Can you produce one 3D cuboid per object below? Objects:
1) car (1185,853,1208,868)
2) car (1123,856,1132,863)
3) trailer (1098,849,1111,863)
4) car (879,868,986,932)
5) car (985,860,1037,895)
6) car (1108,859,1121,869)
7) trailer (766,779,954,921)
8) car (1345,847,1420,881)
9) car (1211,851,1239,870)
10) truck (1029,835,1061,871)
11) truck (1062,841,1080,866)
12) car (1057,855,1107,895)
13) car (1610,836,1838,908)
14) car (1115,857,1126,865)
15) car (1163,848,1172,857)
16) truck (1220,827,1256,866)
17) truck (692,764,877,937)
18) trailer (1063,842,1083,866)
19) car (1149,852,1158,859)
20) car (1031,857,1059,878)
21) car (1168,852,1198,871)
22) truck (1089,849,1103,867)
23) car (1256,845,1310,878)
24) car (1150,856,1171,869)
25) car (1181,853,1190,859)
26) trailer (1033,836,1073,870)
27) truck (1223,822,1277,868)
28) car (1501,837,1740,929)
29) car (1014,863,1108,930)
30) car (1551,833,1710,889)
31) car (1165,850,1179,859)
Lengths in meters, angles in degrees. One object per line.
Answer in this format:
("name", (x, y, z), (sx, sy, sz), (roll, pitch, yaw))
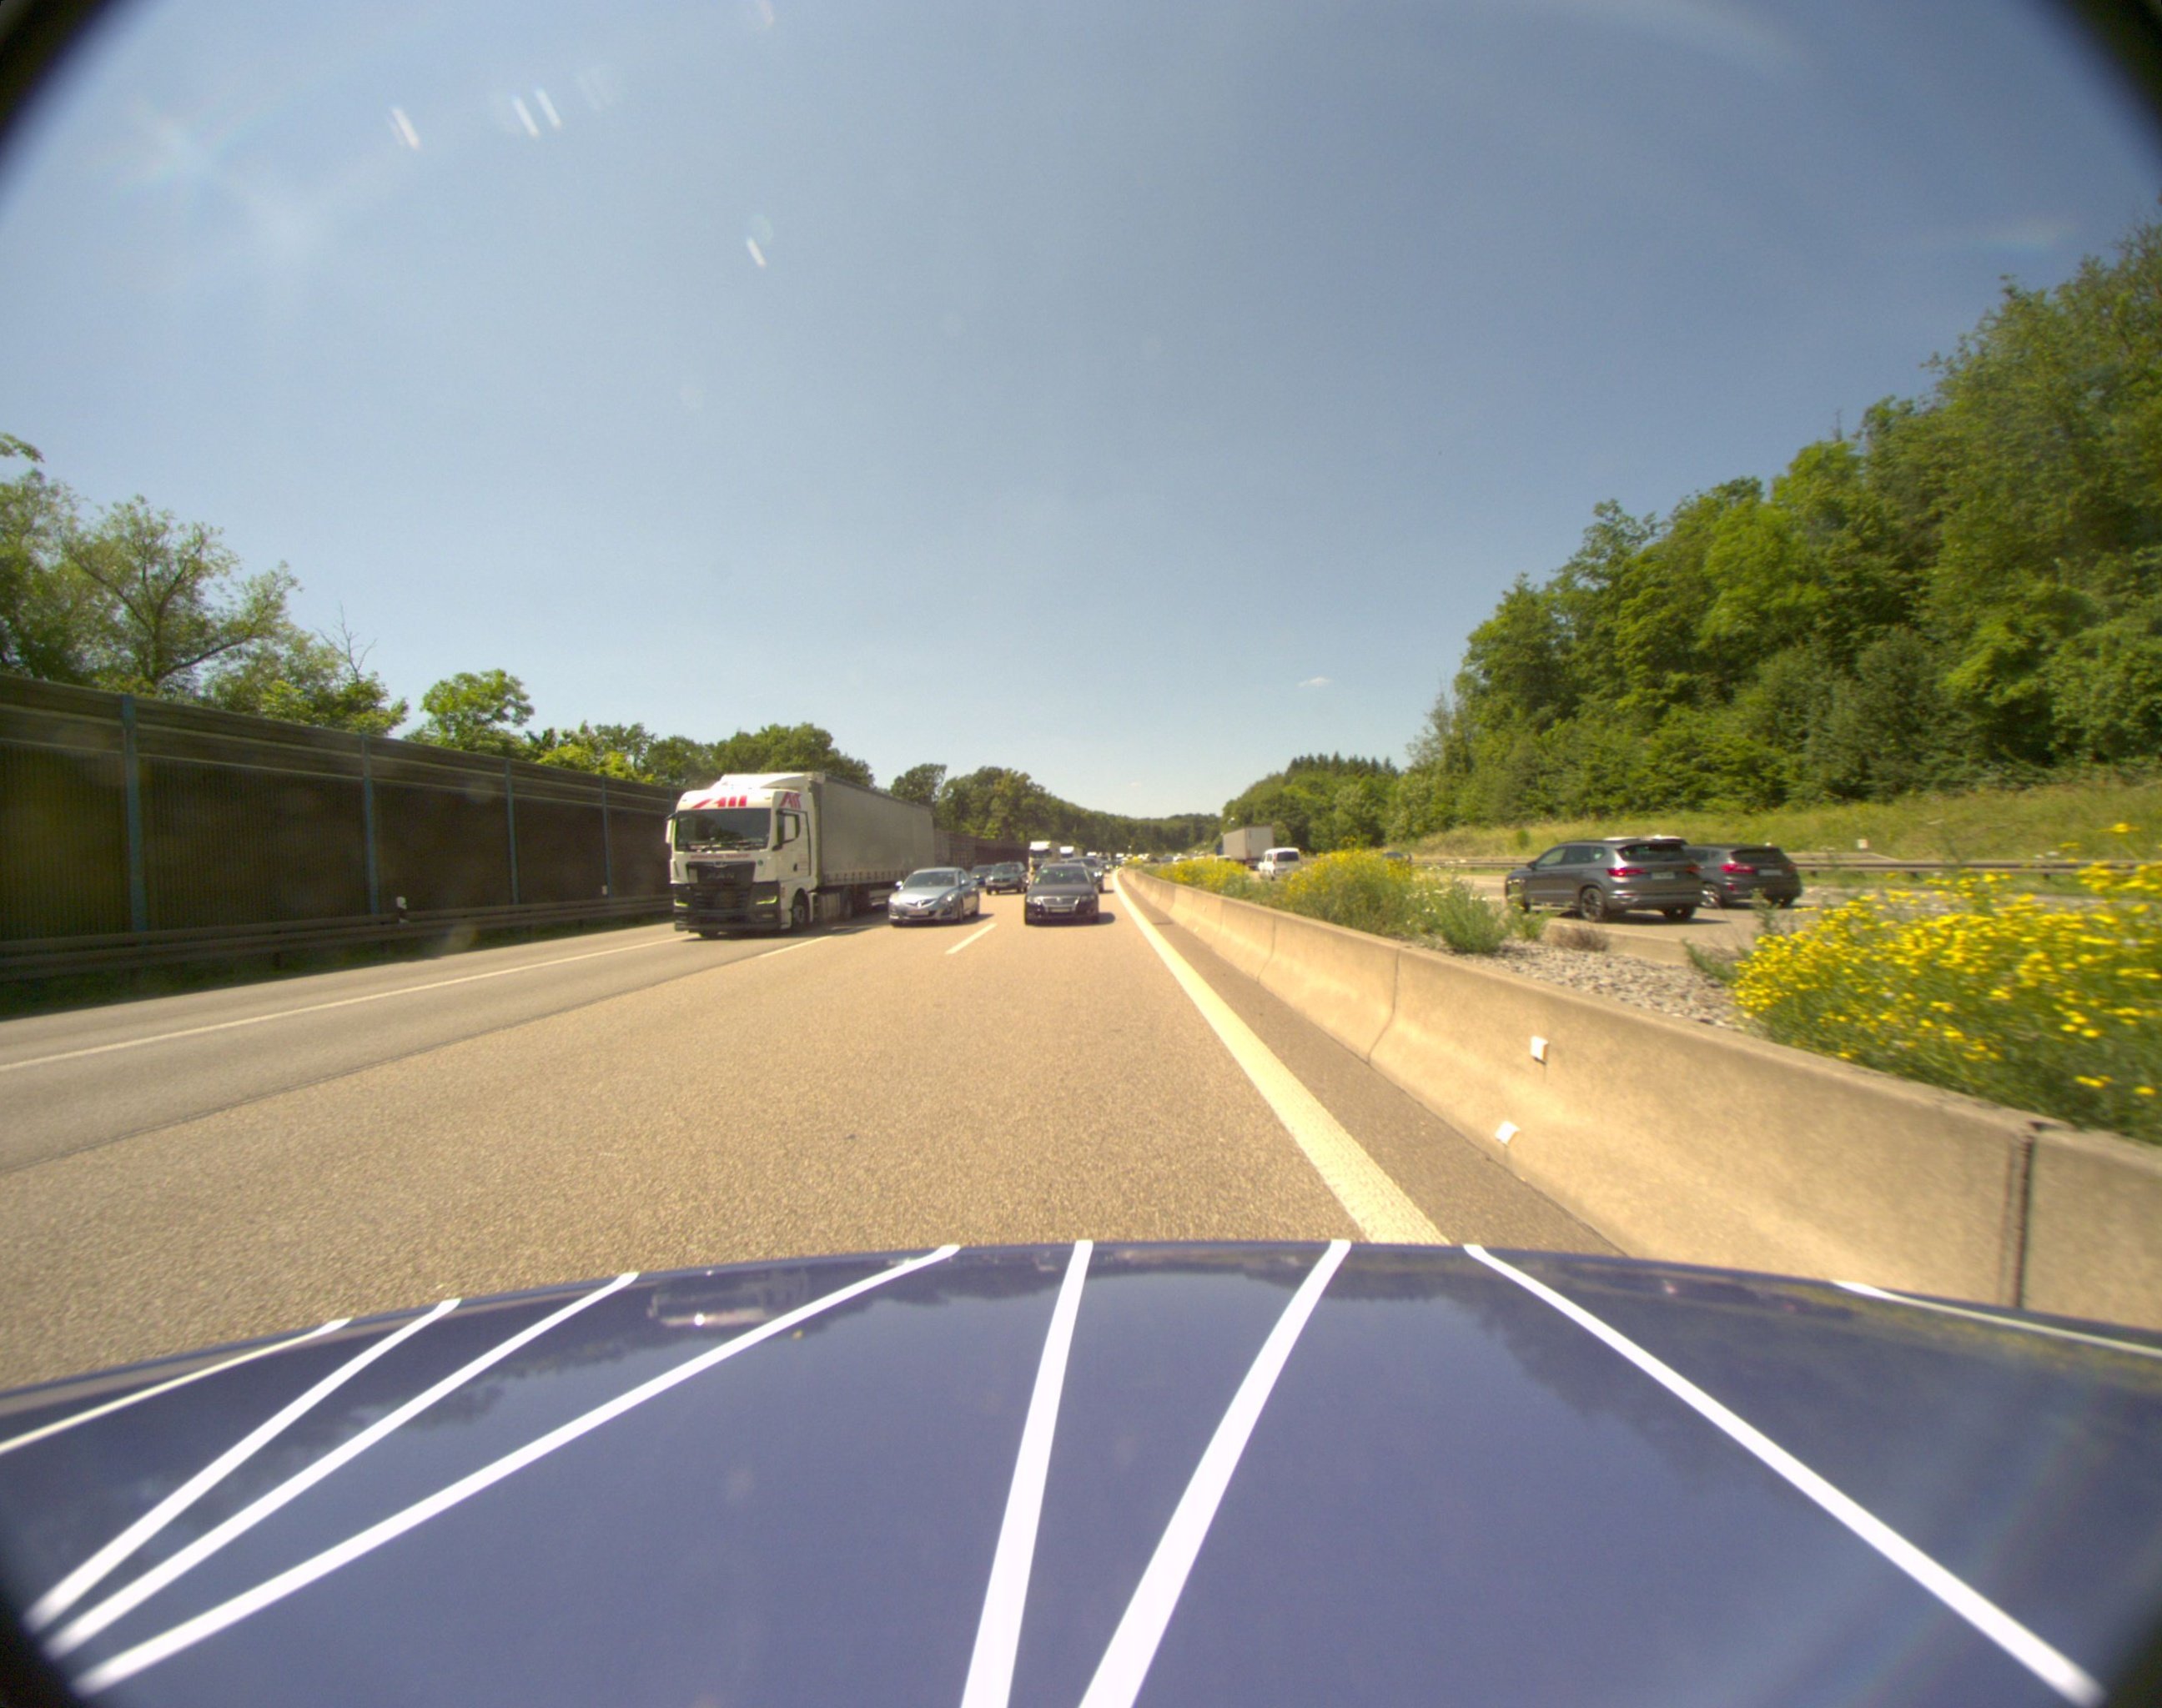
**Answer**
("car", (12.659, 0.677, 83.512), (1.998, 1.489, 4.248), (-2, 0, 1))
("car", (11.435, 1.302, 186.006), (1.997, 1.641, 4.002), (-2, 0, 6))
("trailer", (7.067, 0.638, 225.620), (3.154, 4.061, 6.186), (-2, 0, 8))
("car", (-3.848, 1.139, 20.405), (1.860, 1.426, 4.177), (-2, 0, 2))
("car", (-3.426, 1.117, 37.853), (1.907, 1.550, 4.001), (-2, 0, 4))
("car", (5.844, 1.666, 132.915), (1.997, 1.641, 4.002), (-2, 0, 6))
("trailer", (-7.582, -0.126, 28.953), (2.604, 4.066, 13.593), (-2, 0, 2))
("car", (14.343, 0.444, 36.380), (1.998, 1.483, 4.000), (-2, 0, 1))
("car", (12.073, 0.572, 63.915), (1.679, 1.489, 3.883), (-2, 0, 1))
("truck", (-4.452, -0.128, 94.694), (2.810, 4.190, 5.424), (-2, 0, 8))
("truck", (-1.777, -0.051, 133.566), (2.545, 4.149, 4.747), (-2, 0, 4))
("car", (0.114, 0.919, 35.227), (1.998, 1.641, 4.001), (-2, 0, 4))
("car", (14.905, 0.376, 17.962), (1.998, 1.435, 4.007), (-2, 0, 1))
("car", (8.490, 1.474, 163.025), (1.997, 1.641, 4.002), (-2, 0, 6))
("car", (25.087, -0.405, 219.937), (2.221, 2.685, 6.063), (-2, 0, 3))
("truck", (16.698, -0.793, 81.259), (2.835, 3.916, 6.008), (-2, 0, 3))
("truck", (-7.860, -0.084, 21.000), (2.604, 4.066, 5.553), (-2, 0, 2))
("trailer", (-1.402, 0.045, 138.150), (2.541, 4.149, 10.180), (-2, 0, 5))
("car", (19.499, 0.405, 203.867), (1.998, 1.713, 4.357), (-2, 0, 2))
("car", (-3.032, 1.132, 64.283), (1.998, 1.641, 4.000), (-2, 0, 1))
("car", (8.587, 0.618, 64.280), (1.943, 1.494, 4.659), (-2, 0, 1))
("truck", (3.845, 0.927, 191.229), (2.852, 4.381, 5.242), (-2, 0, 8))
("car", (11.369, 0.407, 43.060), (1.889, 1.745, 4.277), (-2, 0, 1))
("car", (8.832, 0.896, 84.660), (1.998, 1.333, 4.248), (-2, 0, 1))
("car", (25.596, 0.513, 186.676), (1.844, 1.444, 4.001), (-2, 0, 2))
("trailer", (-3.570, -0.107, 101.404), (2.820, 4.190, 13.473), (-2, 0, 8))
("truck", (16.296, -0.796, 74.330), (2.835, 3.915, 13.748), (-2, 0, 3))
("car", (10.685, 0.514, 15.510), (1.998, 1.563, 4.065), (-2, 0, 1))
("car", (-0.376, 0.981, 19.158), (1.907, 1.410, 4.001), (-2, 0, 4))
("car", (18.529, 0.227, 25.964), (1.998, 1.682, 4.767), (-2, 0, 1))
("car", (16.480, 0.071, 138.189), (1.998, 1.618, 4.475), (-2, 0, 2))
